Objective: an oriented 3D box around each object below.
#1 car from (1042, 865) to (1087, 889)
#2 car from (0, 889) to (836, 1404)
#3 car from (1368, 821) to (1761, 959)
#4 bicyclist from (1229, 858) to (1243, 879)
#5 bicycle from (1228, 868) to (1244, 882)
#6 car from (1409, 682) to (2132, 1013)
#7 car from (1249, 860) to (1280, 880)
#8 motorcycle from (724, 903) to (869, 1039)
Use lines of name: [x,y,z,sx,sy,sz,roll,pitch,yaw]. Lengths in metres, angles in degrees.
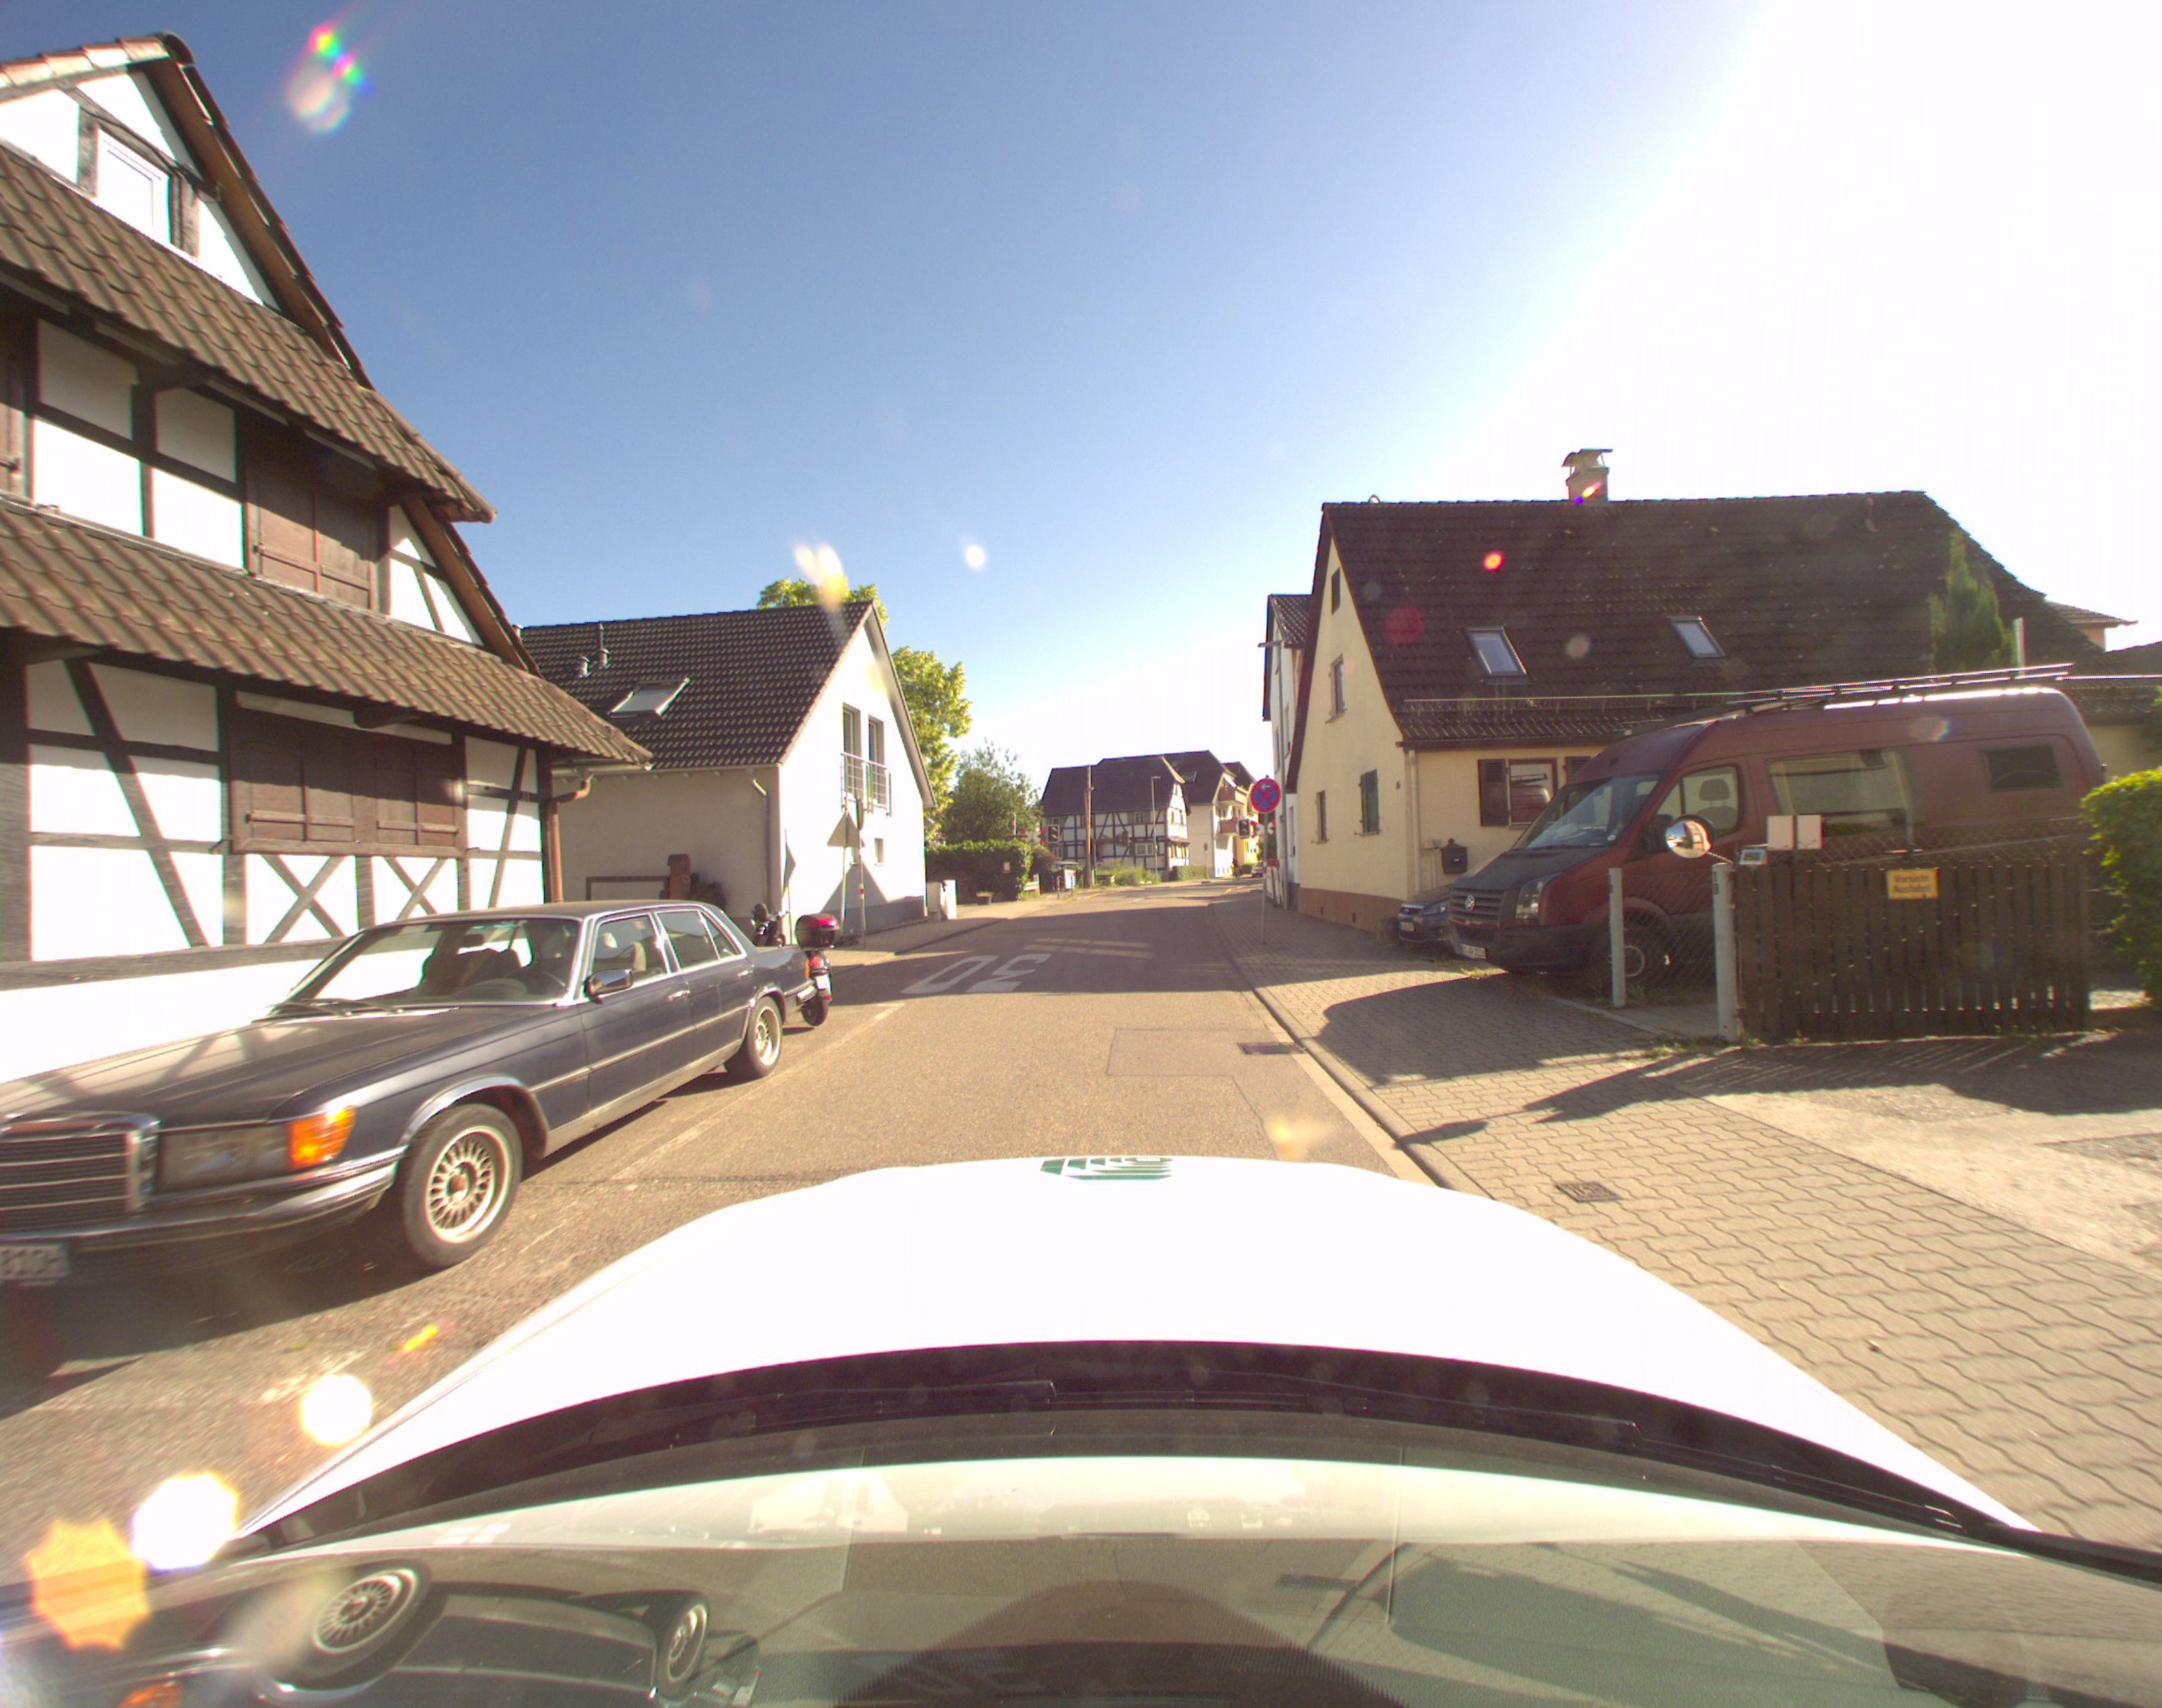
car: [-1.111,1.512,53.727,1.690,1.564,3.971,0,-2,-21]
car: [-3.297,1.017,4.986,1.837,1.406,5.038,-4,-2,2]
car: [6.594,0.490,11.480,4.360,1.487,1.839,-4,-2,0]
bicyclist: [11.226,1.058,58.951,0.841,1.541,0.877,-2,-2,17]
bicycle: [11.200,1.527,58.910,0.876,1.005,2.072,-3,-2,17]
car: [6.766,-0.065,8.463,5.789,2.655,1.966,-4,-2,-3]
car: [15.987,1.395,70.981,1.615,1.506,3.876,-6,-3,27]
motorcycle: [-3.034,1.149,8.549,0.630,1.231,1.970,-2,-1,-44]
